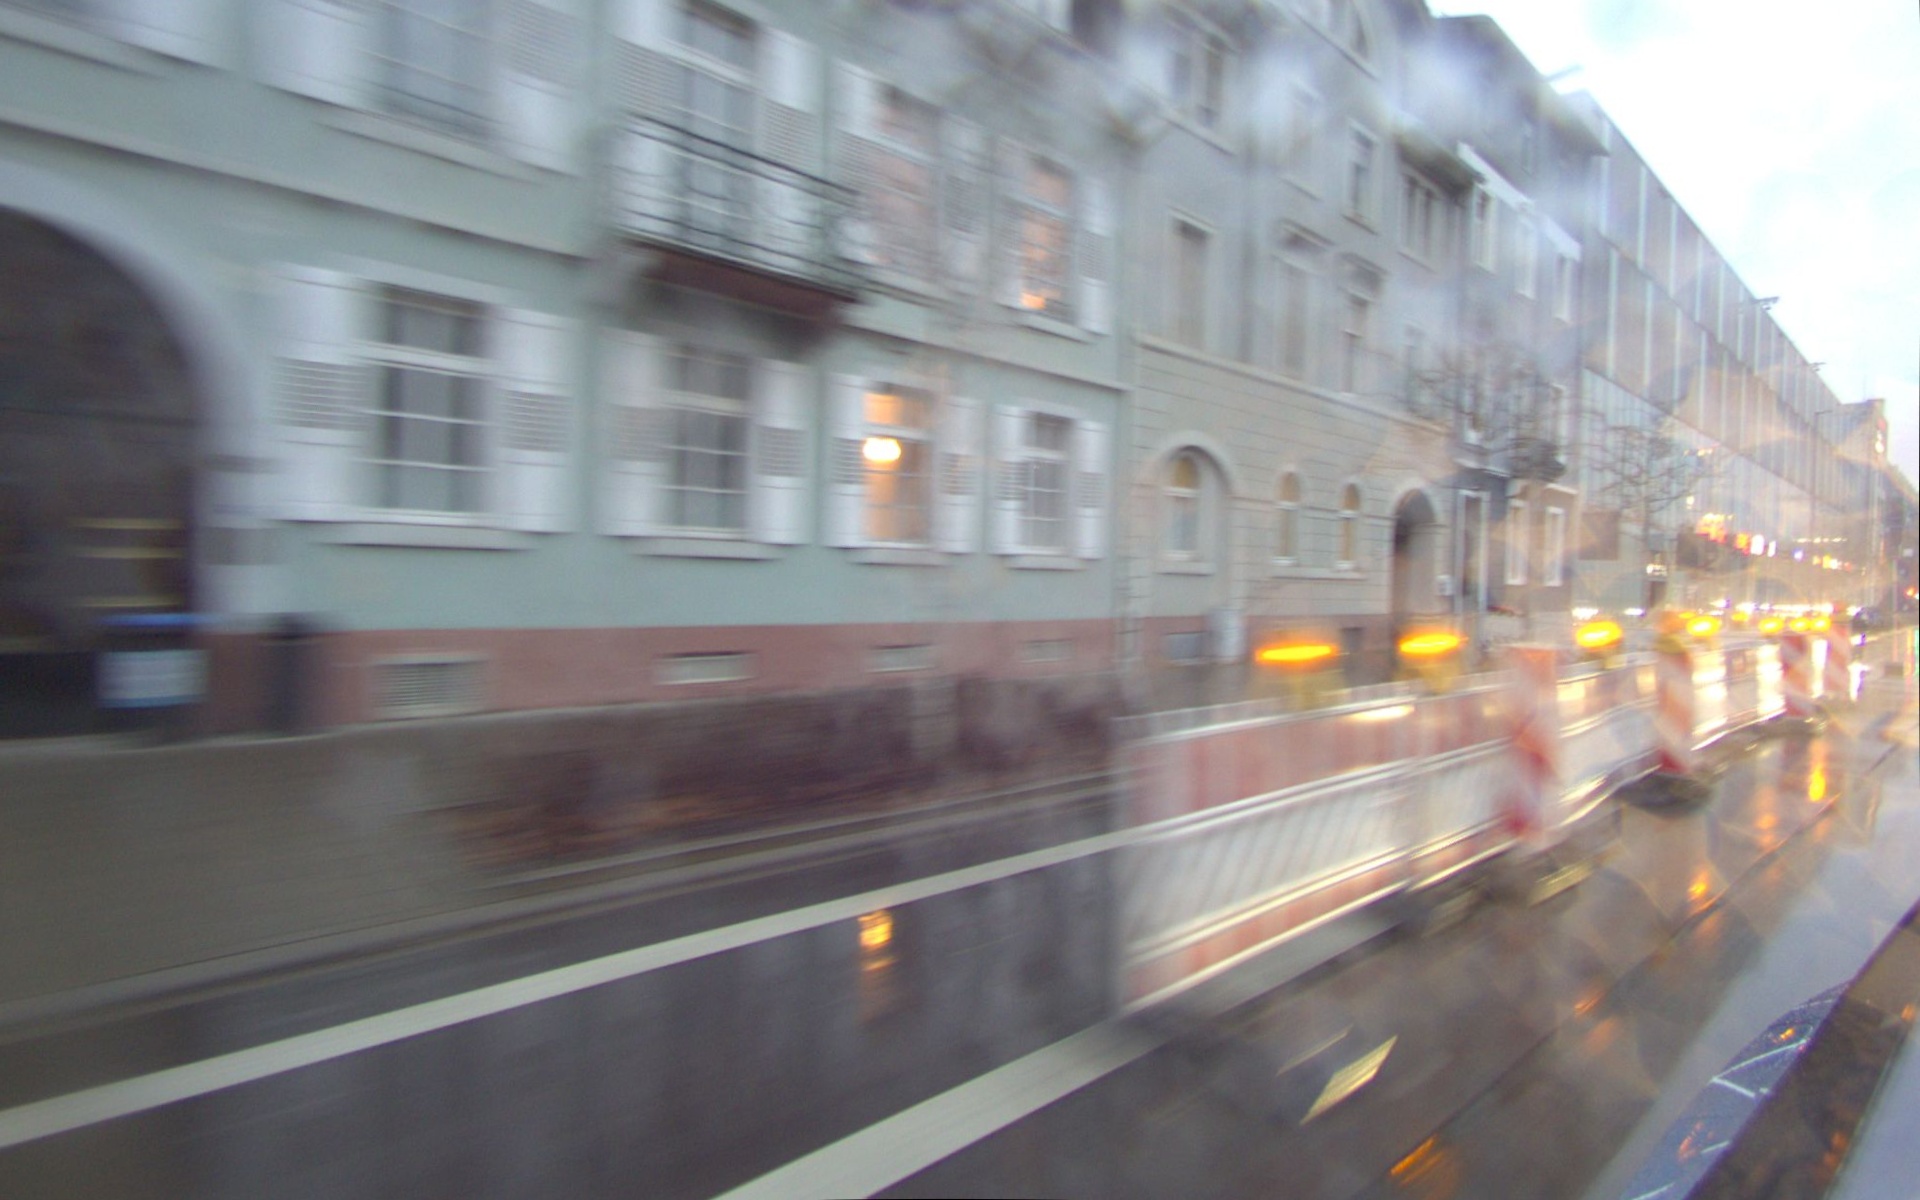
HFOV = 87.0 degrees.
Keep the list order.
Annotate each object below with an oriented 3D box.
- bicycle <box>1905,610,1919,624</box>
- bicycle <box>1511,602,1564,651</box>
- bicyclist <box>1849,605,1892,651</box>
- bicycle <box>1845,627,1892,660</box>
[{"bbox_3d":[88.730,1.585,93.531,0.655,1.189,1.906,1,3,-43],"label":"bicycle"},{"bbox_3d":[15.702,0.699,27.503,1.874,1.236,0.683,0,4,-45],"label":"bicycle"},{"bbox_3d":[30.466,0.918,33.871,1.048,1.481,0.944,1,0,-42],"label":"bicyclist"},{"bbox_3d":[30.475,1.448,33.946,2.202,1.012,0.944,1,0,-42],"label":"bicycle"}]
